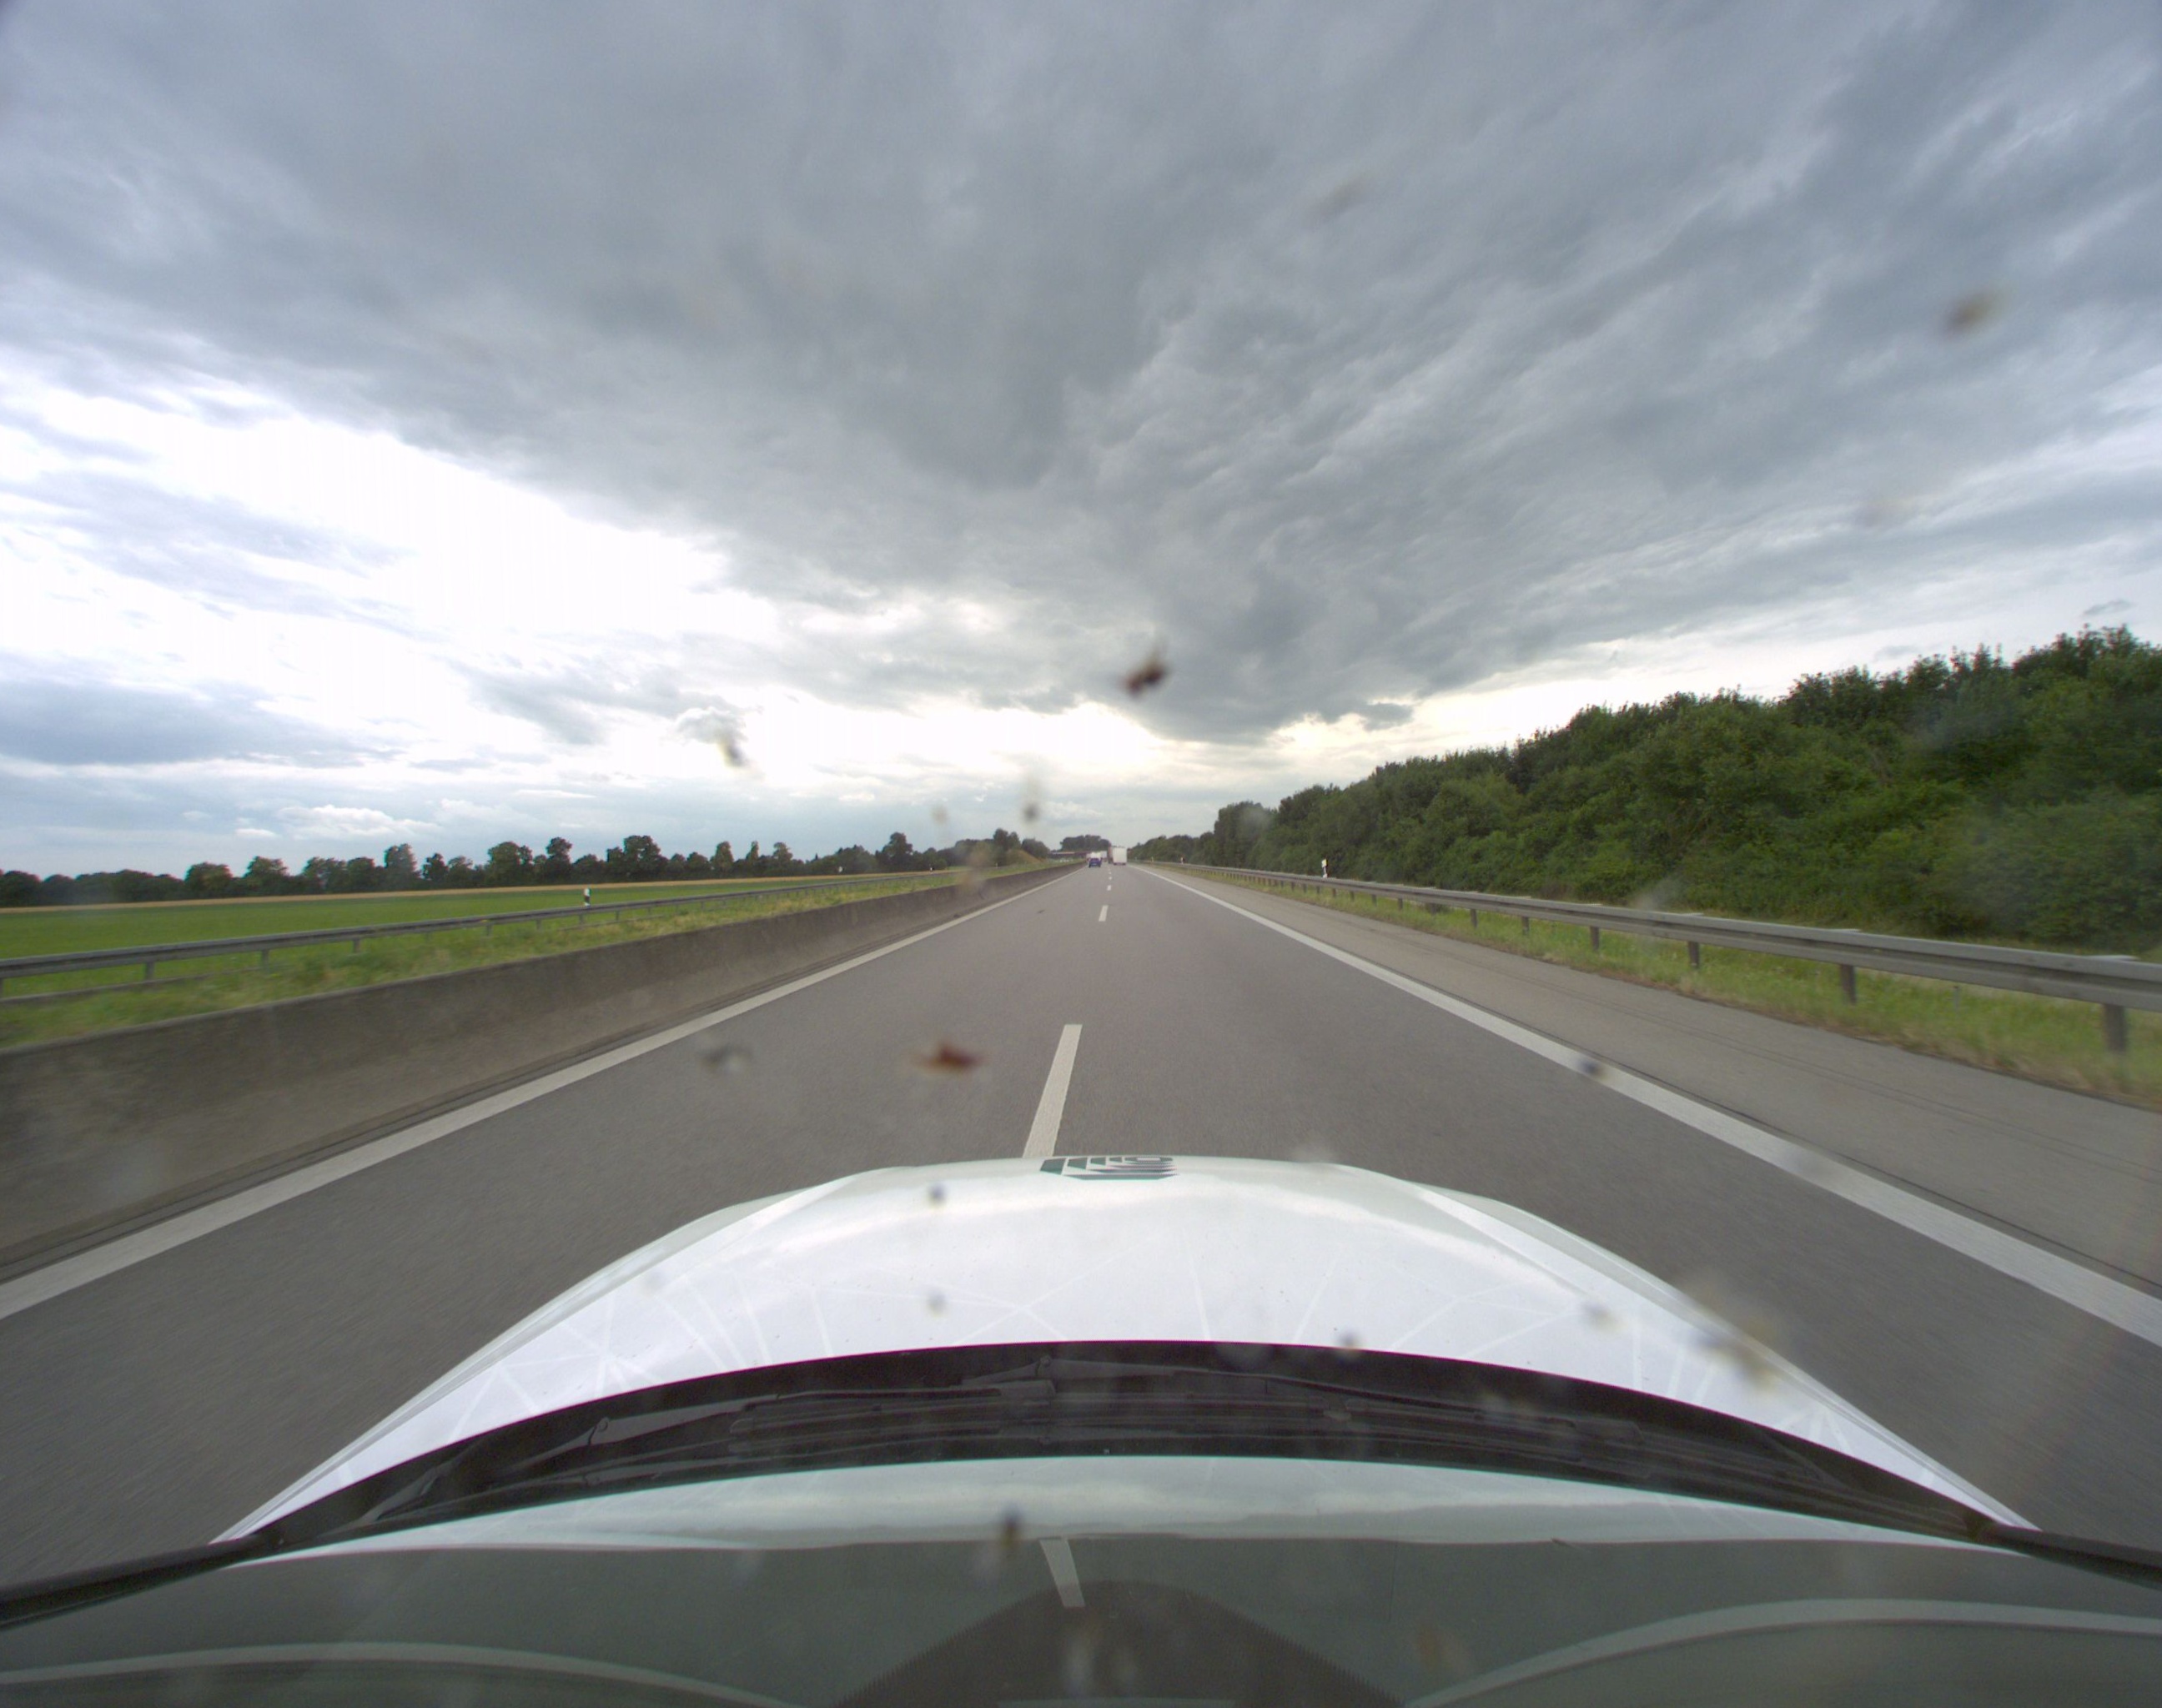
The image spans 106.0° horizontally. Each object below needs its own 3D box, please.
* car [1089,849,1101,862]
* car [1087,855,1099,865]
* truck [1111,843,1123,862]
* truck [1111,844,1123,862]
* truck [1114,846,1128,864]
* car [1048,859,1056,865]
[{"bbox_3d":[2.805,0.302,161.936,2.122,2.483,5.841,-2,-1,2],"label":"car"},{"bbox_3d":[1.750,0.853,119.426,1.658,1.407,3.647,-1,0,-1],"label":"car"},{"bbox_3d":[8.264,-0.281,186.752,2.662,4.045,11.114,-2,0,3],"label":"truck"},{"bbox_3d":[8.499,-0.288,192.118,2.662,4.045,5.516,-2,0,2],"label":"truck"},{"bbox_3d":[7.339,0.197,149.802,2.406,3.222,7.146,-1,-1,2],"label":"truck"},{"bbox_3d":[-7.168,1.944,202.143,1.740,1.487,4.530,-4,0,1],"label":"car"}]
